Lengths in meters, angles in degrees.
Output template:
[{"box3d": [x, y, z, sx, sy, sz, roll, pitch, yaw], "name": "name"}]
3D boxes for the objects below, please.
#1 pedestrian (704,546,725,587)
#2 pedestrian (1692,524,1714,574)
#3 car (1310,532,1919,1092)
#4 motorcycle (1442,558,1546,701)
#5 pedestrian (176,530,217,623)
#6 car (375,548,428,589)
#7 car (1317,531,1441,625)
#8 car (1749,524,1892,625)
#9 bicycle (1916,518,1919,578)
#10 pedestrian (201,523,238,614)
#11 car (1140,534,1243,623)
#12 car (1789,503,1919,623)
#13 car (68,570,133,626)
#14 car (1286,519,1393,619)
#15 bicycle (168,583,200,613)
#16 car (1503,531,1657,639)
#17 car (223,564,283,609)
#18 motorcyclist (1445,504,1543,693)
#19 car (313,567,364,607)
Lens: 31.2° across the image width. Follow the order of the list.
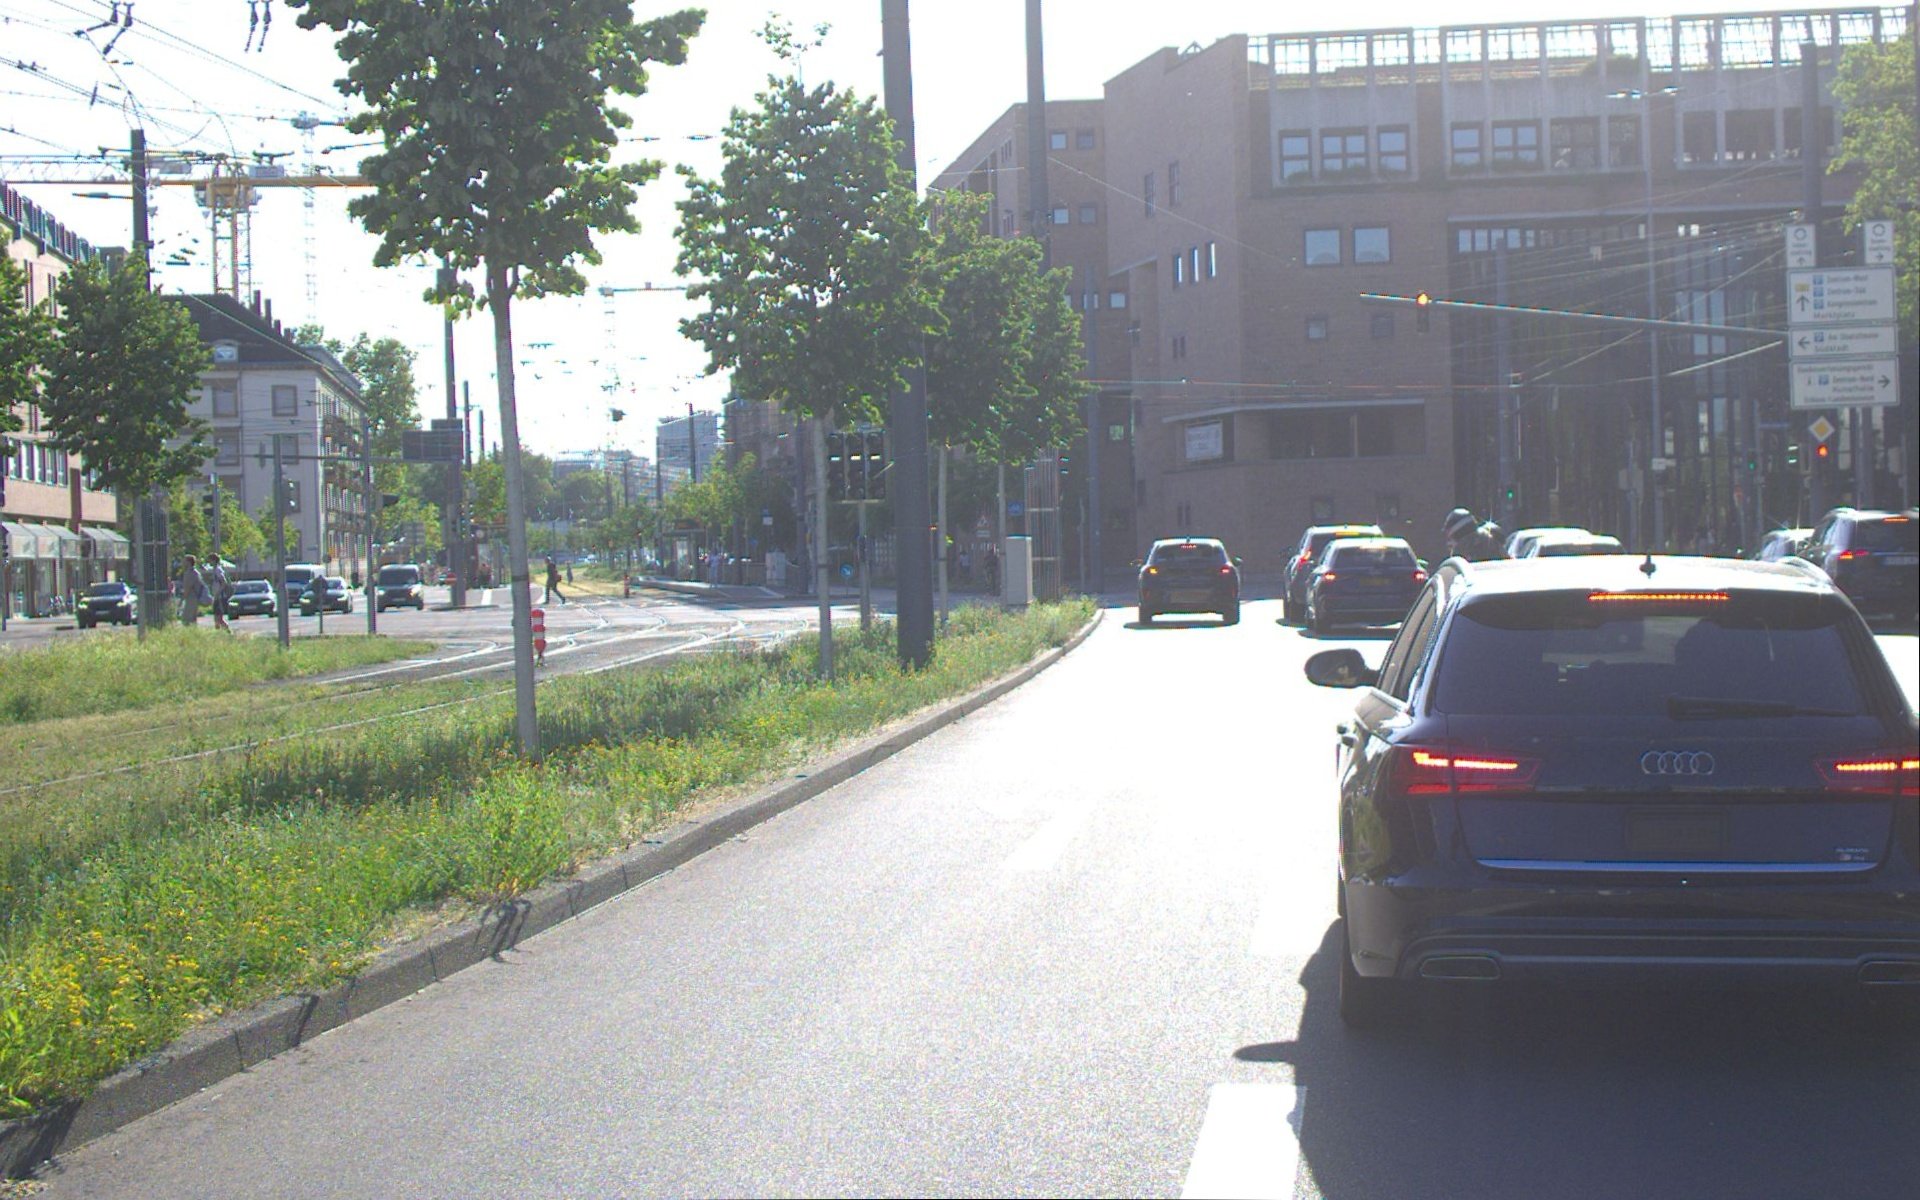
[{"box3d": [-10.039, -1.358, 140.325, 0.742, 1.634, 0.768, -2, 1, -9], "name": "pedestrian"}, {"box3d": [21.700, -1.490, 100.401, 0.529, 1.425, 0.598, -2, 1, 4], "name": "pedestrian"}, {"box3d": [2.206, 0.526, 11.540, 1.812, 1.487, 4.494, 0, 1, 9], "name": "car"}, {"box3d": [4.465, 0.229, 28.843, 0.775, 1.111, 1.969, -2, 1, 7], "name": "motorcycle"}, {"box3d": [-15.133, -0.469, 68.166, 0.631, 1.823, 0.663, -2, 1, -2], "name": "pedestrian"}, {"box3d": [-21.678, -1.236, 133.335, 1.744, 1.499, 3.881, -2, 1, -13], "name": "car"}, {"box3d": [6.391, -0.366, 52.775, 1.737, 1.345, 3.999, -2, 1, 5], "name": "car"}, {"box3d": [14.959, -0.474, 59.930, 1.994, 1.645, 3.999, -2, 1, 9], "name": "car"}, {"box3d": [17.417, -0.956, 61.522, 0.504, 1.054, 1.701, -4, 0, 17], "name": "bicycle"}, {"box3d": [-14.920, -0.636, 69.295, 0.563, 1.811, 0.663, -2, 1, -2], "name": "pedestrian"}, {"box3d": [4.018, -0.397, 59.223, 1.649, 1.428, 3.999, -2, 1, 5], "name": "car"}, {"box3d": [14.236, -0.610, 53.269, 1.994, 1.744, 4.328, -2, 1, 4], "name": "car"}, {"box3d": [-32.969, -0.099, 131.914, 1.993, 2.007, 4.001, -2, 1, -9], "name": "car"}, {"box3d": [6.616, -0.558, 60.196, 1.737, 1.645, 3.999, -2, 1, 5], "name": "car"}, {"box3d": [-29.065, -0.079, 128.723, 0.649, 1.081, 2.927, -2, 1, -3], "name": "bicycle"}, {"box3d": [8.826, -0.245, 49.210, 1.807, 1.452, 3.999, -1, 1, 5], "name": "car"}, {"box3d": [-27.629, -0.534, 134.469, 1.993, 1.590, 4.740, -3, 1, -9], "name": "car"}, {"box3d": [4.446, -0.023, 28.682, 0.745, 1.525, 1.020, -2, 1, 8], "name": "motorcyclist"}, {"box3d": [-24.322, -0.523, 134.377, 1.744, 1.499, 3.881, -2, 1, -13], "name": "car"}]
